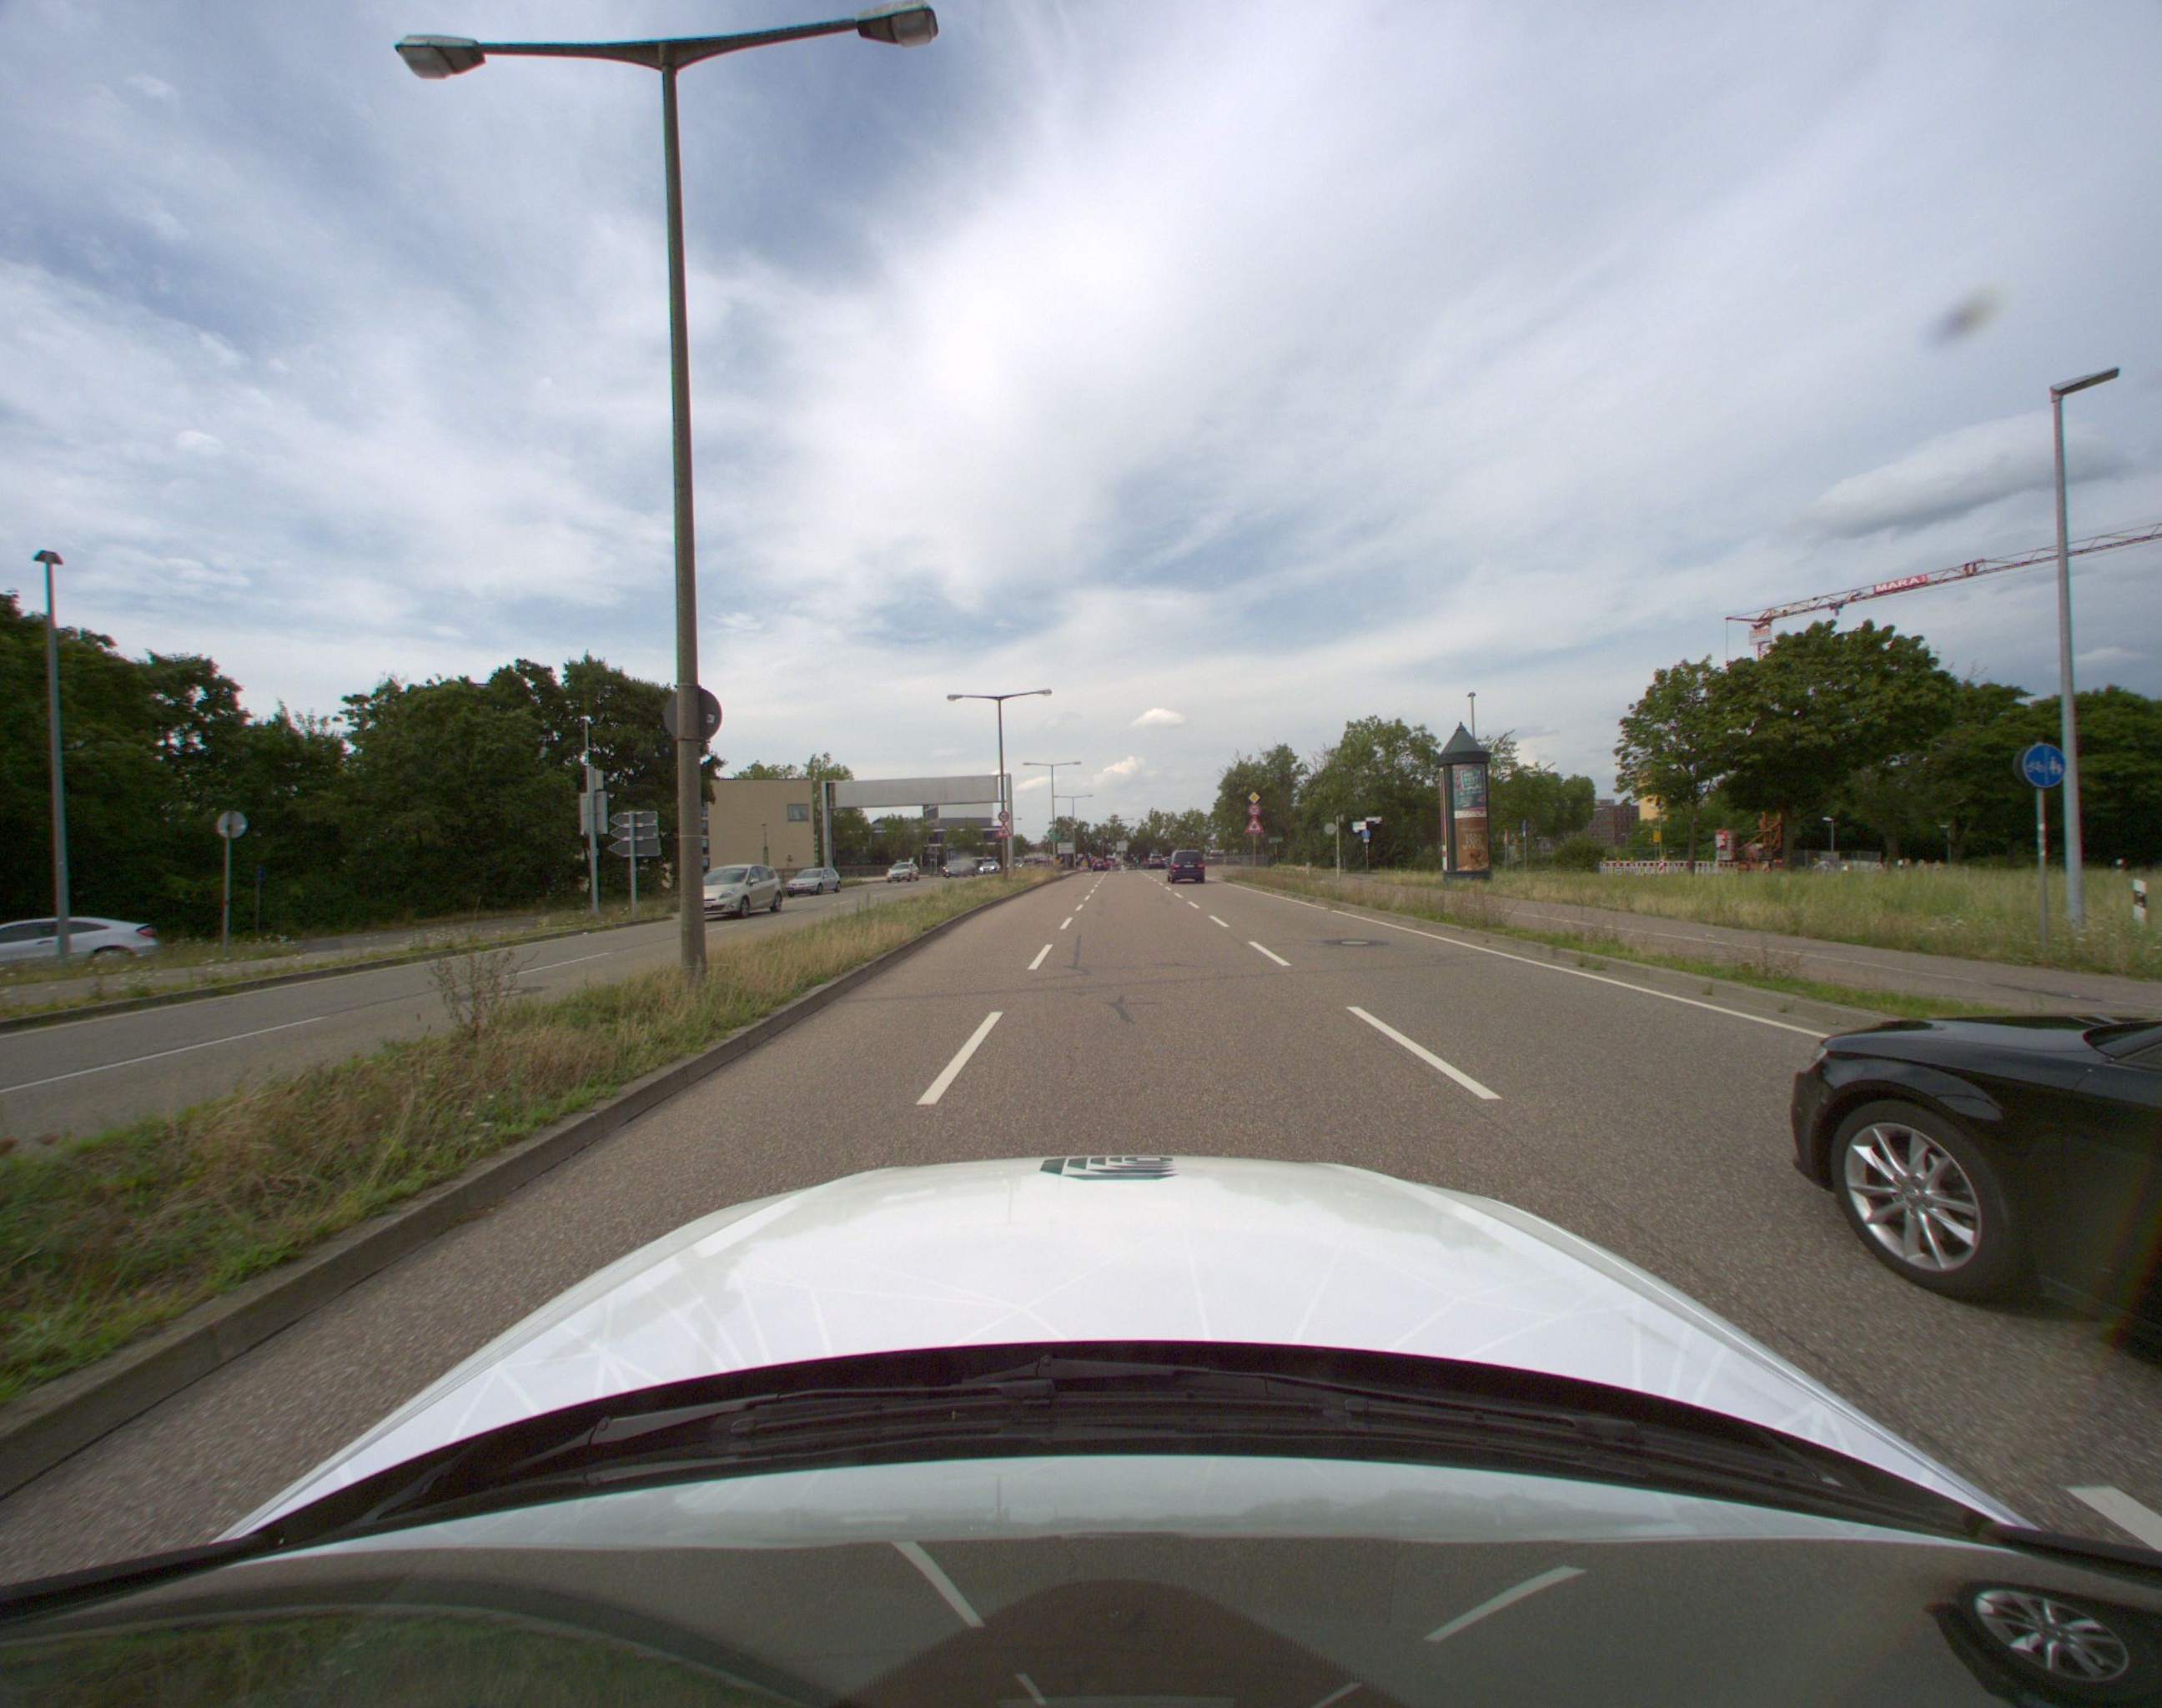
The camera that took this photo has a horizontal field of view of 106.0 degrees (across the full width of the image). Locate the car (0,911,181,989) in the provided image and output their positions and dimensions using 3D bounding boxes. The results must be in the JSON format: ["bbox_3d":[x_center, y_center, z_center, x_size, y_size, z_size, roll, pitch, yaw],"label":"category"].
[{"bbox_3d":[-24.074,2.244,18.607,1.728,1.446,4.490,-3,0,35],"label":"car"}]

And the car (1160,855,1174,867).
[{"bbox_3d":[11.453,0.905,108.315,1.501,1.447,3.141,-1,1,1],"label":"car"}]

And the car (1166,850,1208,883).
[{"bbox_3d":[5.546,0.617,43.058,1.724,1.653,4.116,-1,0,1],"label":"car"}]

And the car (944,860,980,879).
[{"bbox_3d":[-10.061,1.275,69.287,1.656,1.425,4.529,-4,-1,8],"label":"car"}]

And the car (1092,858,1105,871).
[{"bbox_3d":[2.293,1.332,106.867,1.724,1.653,4.116,-1,0,1],"label":"car"}]

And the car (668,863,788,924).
[{"bbox_3d":[-10.885,1.151,25.485,1.740,1.598,4.563,-3,0,-1],"label":"car"}]

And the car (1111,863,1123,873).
[{"bbox_3d":[6.260,2.465,143.049,1.726,1.526,4.112,-1,0,-2],"label":"car"}]

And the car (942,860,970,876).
[{"bbox_3d":[-12.569,1.409,82.090,1.786,1.525,4.596,-4,-1,2],"label":"car"}]

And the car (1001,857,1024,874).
[{"bbox_3d":[-6.421,1.074,76.624,1.689,1.486,3.861,-2,0,1],"label":"car"}]

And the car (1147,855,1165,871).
[{"bbox_3d":[8.163,0.911,88.782,1.724,1.653,4.116,-1,0,1],"label":"car"}]

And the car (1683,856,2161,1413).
[{"bbox_3d":[3.625,0.727,1.723,1.724,1.395,4.116,-1,0,1],"label":"car"}]

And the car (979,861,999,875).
[{"bbox_3d":[-11.179,1.707,99.387,1.786,1.525,4.190,-4,-1,2],"label":"car"}]

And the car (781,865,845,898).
[{"bbox_3d":[-14.344,1.450,43.845,1.657,1.419,4.100,-3,1,6],"label":"car"}]

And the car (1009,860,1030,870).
[{"bbox_3d":[-7.218,1.315,96.256,1.986,1.068,4.002,-1,1,2],"label":"car"}]

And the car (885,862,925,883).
[{"bbox_3d":[-13.339,1.393,61.925,1.657,1.419,4.321,-4,-1,6],"label":"car"}]
